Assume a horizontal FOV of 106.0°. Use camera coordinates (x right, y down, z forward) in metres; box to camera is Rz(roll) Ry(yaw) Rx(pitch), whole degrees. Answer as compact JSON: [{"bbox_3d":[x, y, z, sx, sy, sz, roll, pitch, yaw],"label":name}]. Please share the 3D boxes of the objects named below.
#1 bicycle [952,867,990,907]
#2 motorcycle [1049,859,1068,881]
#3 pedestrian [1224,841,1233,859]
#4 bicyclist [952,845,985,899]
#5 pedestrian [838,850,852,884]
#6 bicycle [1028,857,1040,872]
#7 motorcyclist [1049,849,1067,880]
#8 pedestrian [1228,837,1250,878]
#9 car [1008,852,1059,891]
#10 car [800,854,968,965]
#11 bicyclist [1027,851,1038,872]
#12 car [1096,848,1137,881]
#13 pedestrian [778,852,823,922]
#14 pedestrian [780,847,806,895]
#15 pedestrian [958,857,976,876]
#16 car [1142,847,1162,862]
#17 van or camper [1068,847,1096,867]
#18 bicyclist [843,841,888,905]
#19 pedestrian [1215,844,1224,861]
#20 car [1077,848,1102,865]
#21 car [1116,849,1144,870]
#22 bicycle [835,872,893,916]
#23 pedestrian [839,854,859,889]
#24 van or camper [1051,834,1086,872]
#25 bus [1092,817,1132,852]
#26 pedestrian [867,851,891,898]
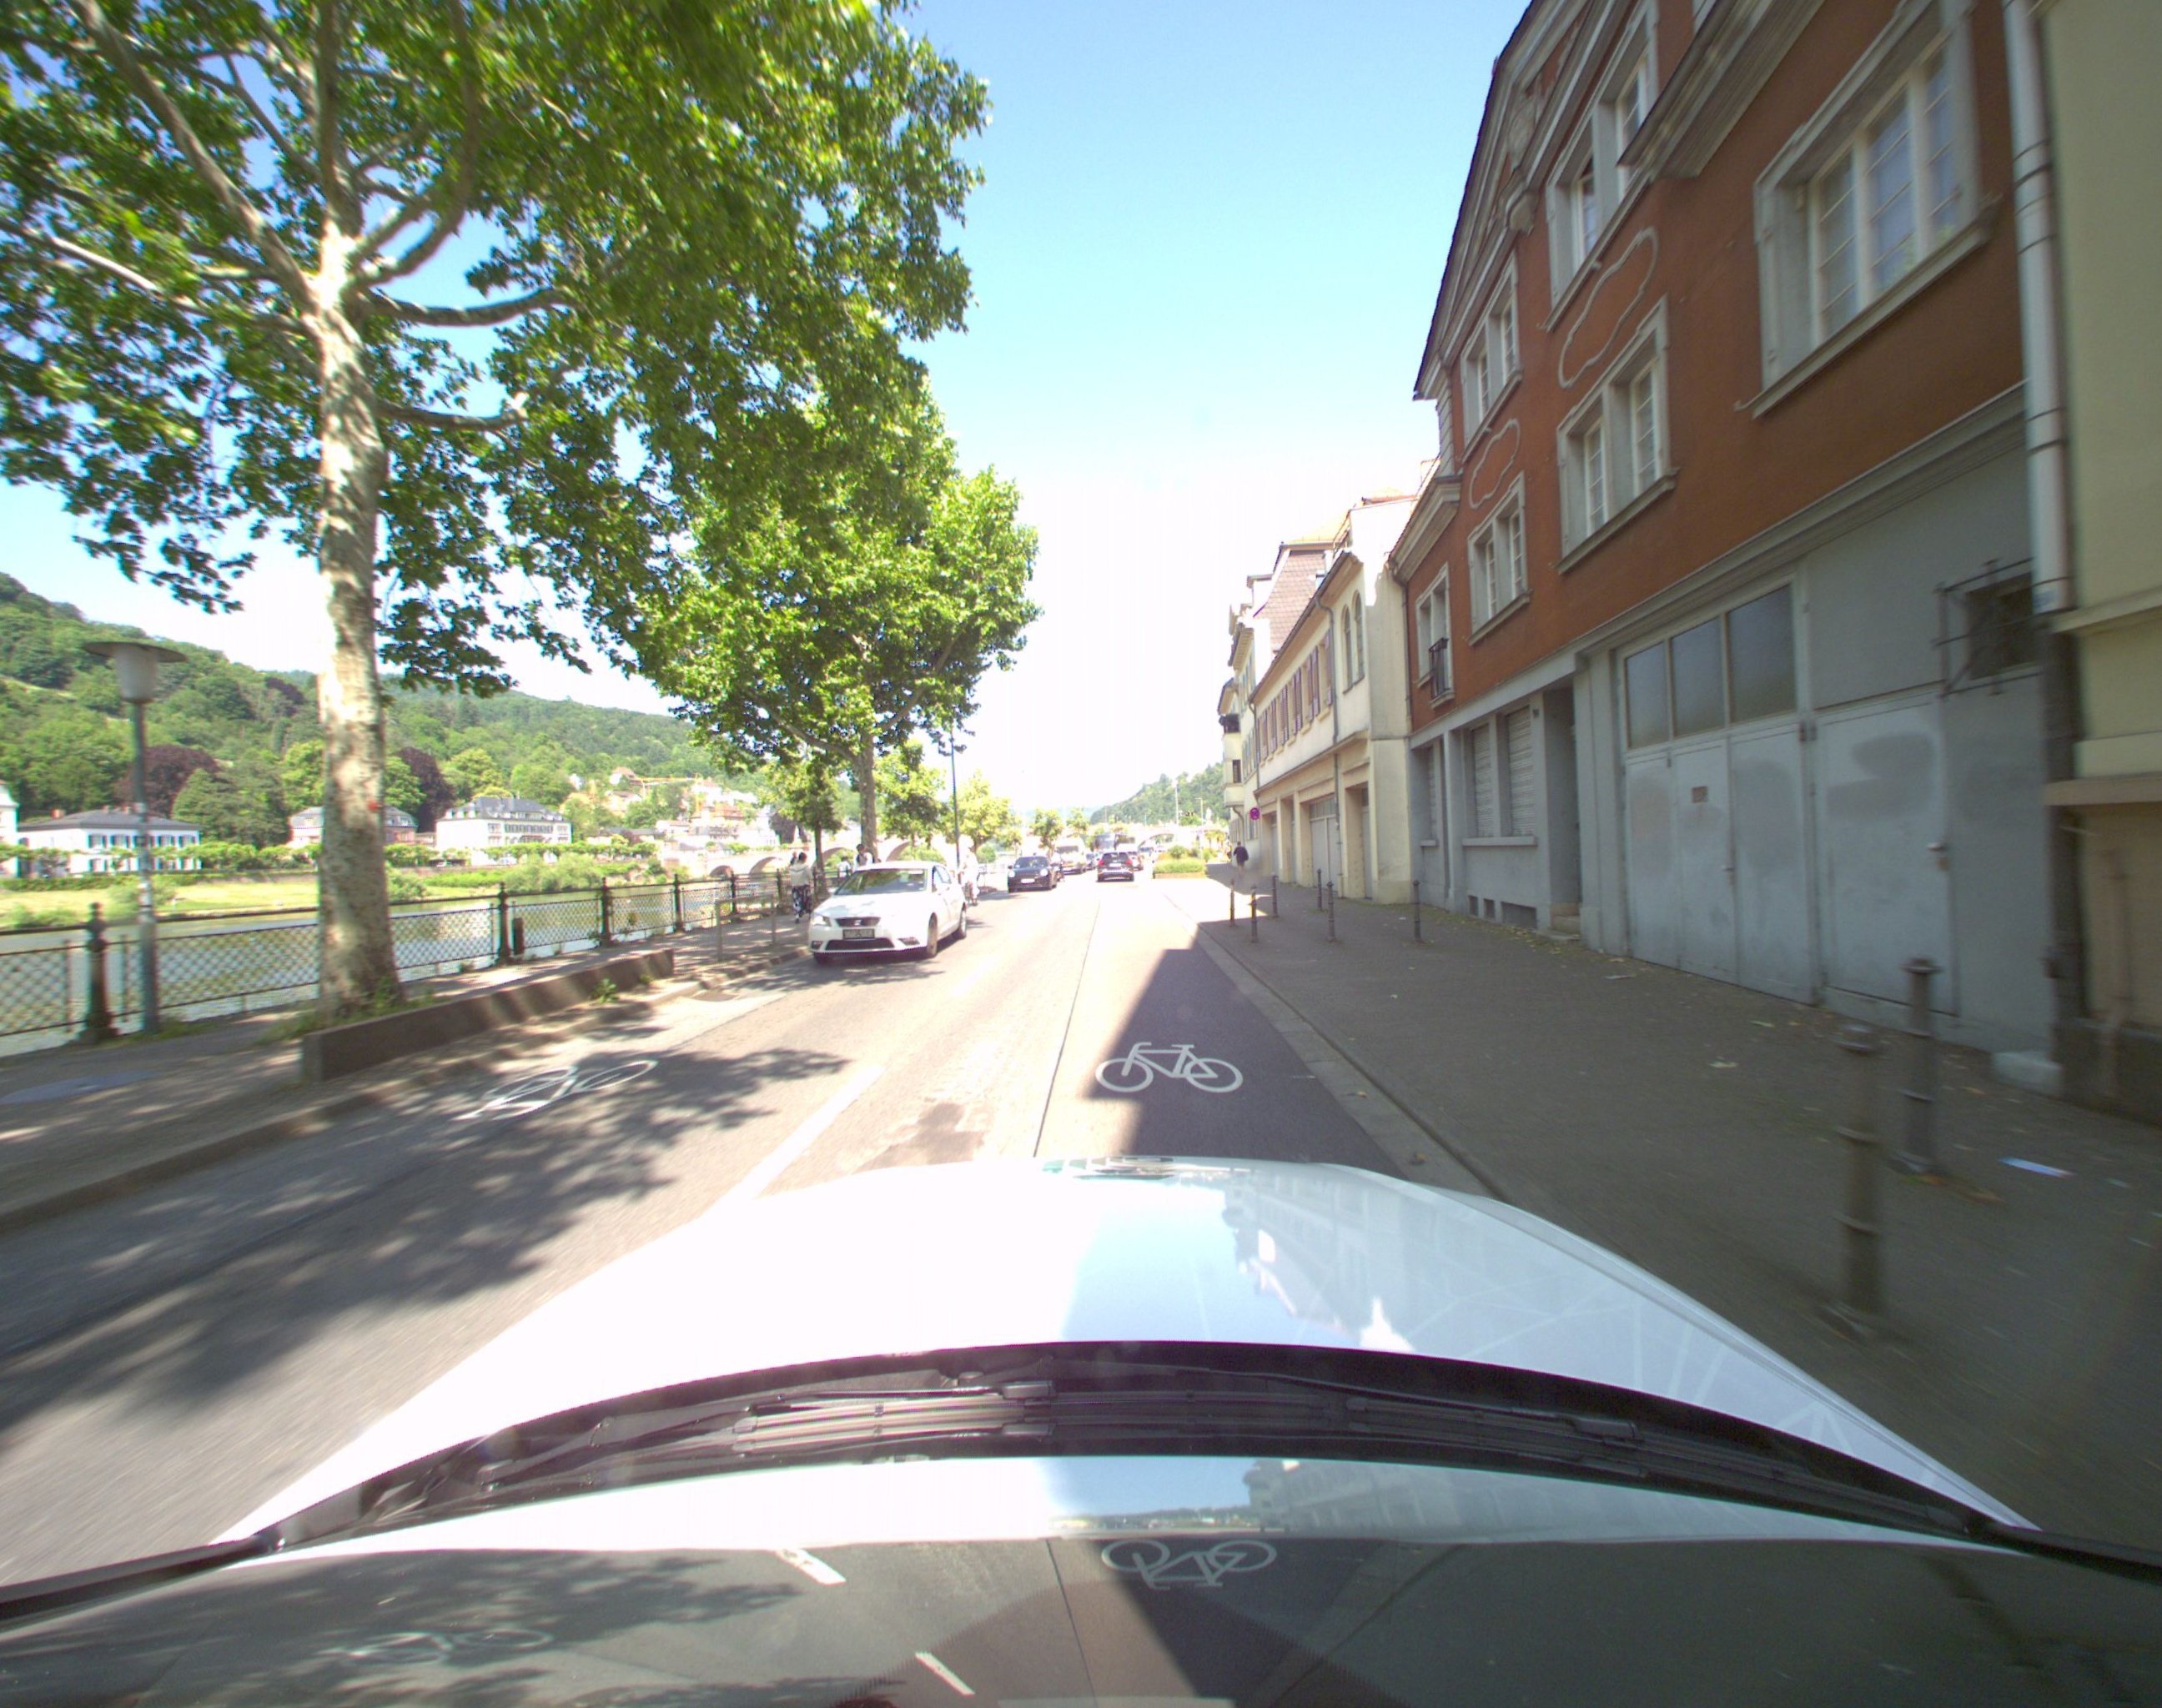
[{"bbox_3d":[-3.256,0.955,24.192,0.737,1.077,1.955,-1,1,3],"label":"bicycle"},{"bbox_3d":[-1.194,0.857,43.389,0.880,1.077,2.328,-2,-1,1],"label":"motorcycle"},{"bbox_3d":[14.028,-0.370,77.404,0.733,1.698,0.936,-3,0,9],"label":"pedestrian"},{"bbox_3d":[-3.311,0.508,24.112,0.763,1.531,1.026,0,2,3],"label":"bicyclist"},{"bbox_3d":[-11.138,0.625,38.423,0.412,1.597,0.452,-2,-1,9],"label":"pedestrian"},{"bbox_3d":[-3.888,0.865,67.947,0.708,1.168,1.898,-1,1,4],"label":"bicycle"},{"bbox_3d":[-1.214,0.551,43.541,0.875,1.583,1.025,-2,-1,0],"label":"motorcyclist"},{"bbox_3d":[6.971,0.154,35.905,0.758,1.713,0.697,-5,-1,5],"label":"pedestrian"},{"bbox_3d":[-1.911,0.701,33.947,1.694,1.458,4.004,-2,0,2],"label":"car"},{"bbox_3d":[-3.002,0.768,13.317,1.695,1.445,4.092,-1,1,0],"label":"car"},{"bbox_3d":[-4.019,0.617,68.092,0.737,1.667,1.090,-2,0,3],"label":"bicyclist"},{"bbox_3d":[1.812,0.494,41.043,1.919,1.553,4.835,0,0,3],"label":"car"},{"bbox_3d":[-6.581,0.758,19.154,0.759,1.586,0.696,-2,-1,1],"label":"pedestrian"},{"bbox_3d":[-11.882,0.704,33.576,0.691,1.945,0.887,-2,-1,1],"label":"pedestrian"},{"bbox_3d":[-7.803,0.839,55.609,0.931,1.281,0.852,-2,-1,10],"label":"pedestrian"},{"bbox_3d":[7.359,0.000,84.204,1.916,1.461,4.841,-2,0,7],"label":"car"},{"bbox_3d":[0.126,0.243,68.760,1.985,1.454,4.688,-4,0,4],"label":"van or camper"},{"bbox_3d":[-5.524,0.469,20.902,0.715,1.583,1.091,-2,-1,7],"label":"bicyclist"},{"bbox_3d":[13.204,-0.139,77.479,0.757,1.595,0.698,-3,0,9],"label":"pedestrian"},{"bbox_3d":[0.804,0.192,76.356,1.804,1.428,4.319,-4,0,7],"label":"car"},{"bbox_3d":[3.628,0.375,60.077,1.917,1.461,4.838,-2,0,5],"label":"car"},{"bbox_3d":[-5.529,1.002,20.902,0.751,0.979,1.956,-2,0,6],"label":"bicycle"},{"bbox_3d":[-11.078,0.826,38.916,0.689,1.616,0.665,-2,-1,9],"label":"pedestrian"},{"bbox_3d":[-0.826,-0.063,59.689,2.079,2.557,7.097,-1,0,3],"label":"van or camper"},{"bbox_3d":[3.711,-2.098,93.586,2.614,3.564,13.021,-2,-1,11],"label":"bus"},{"bbox_3d":[-7.424,0.735,29.908,0.654,1.682,0.758,1,-1,1],"label":"pedestrian"}]
